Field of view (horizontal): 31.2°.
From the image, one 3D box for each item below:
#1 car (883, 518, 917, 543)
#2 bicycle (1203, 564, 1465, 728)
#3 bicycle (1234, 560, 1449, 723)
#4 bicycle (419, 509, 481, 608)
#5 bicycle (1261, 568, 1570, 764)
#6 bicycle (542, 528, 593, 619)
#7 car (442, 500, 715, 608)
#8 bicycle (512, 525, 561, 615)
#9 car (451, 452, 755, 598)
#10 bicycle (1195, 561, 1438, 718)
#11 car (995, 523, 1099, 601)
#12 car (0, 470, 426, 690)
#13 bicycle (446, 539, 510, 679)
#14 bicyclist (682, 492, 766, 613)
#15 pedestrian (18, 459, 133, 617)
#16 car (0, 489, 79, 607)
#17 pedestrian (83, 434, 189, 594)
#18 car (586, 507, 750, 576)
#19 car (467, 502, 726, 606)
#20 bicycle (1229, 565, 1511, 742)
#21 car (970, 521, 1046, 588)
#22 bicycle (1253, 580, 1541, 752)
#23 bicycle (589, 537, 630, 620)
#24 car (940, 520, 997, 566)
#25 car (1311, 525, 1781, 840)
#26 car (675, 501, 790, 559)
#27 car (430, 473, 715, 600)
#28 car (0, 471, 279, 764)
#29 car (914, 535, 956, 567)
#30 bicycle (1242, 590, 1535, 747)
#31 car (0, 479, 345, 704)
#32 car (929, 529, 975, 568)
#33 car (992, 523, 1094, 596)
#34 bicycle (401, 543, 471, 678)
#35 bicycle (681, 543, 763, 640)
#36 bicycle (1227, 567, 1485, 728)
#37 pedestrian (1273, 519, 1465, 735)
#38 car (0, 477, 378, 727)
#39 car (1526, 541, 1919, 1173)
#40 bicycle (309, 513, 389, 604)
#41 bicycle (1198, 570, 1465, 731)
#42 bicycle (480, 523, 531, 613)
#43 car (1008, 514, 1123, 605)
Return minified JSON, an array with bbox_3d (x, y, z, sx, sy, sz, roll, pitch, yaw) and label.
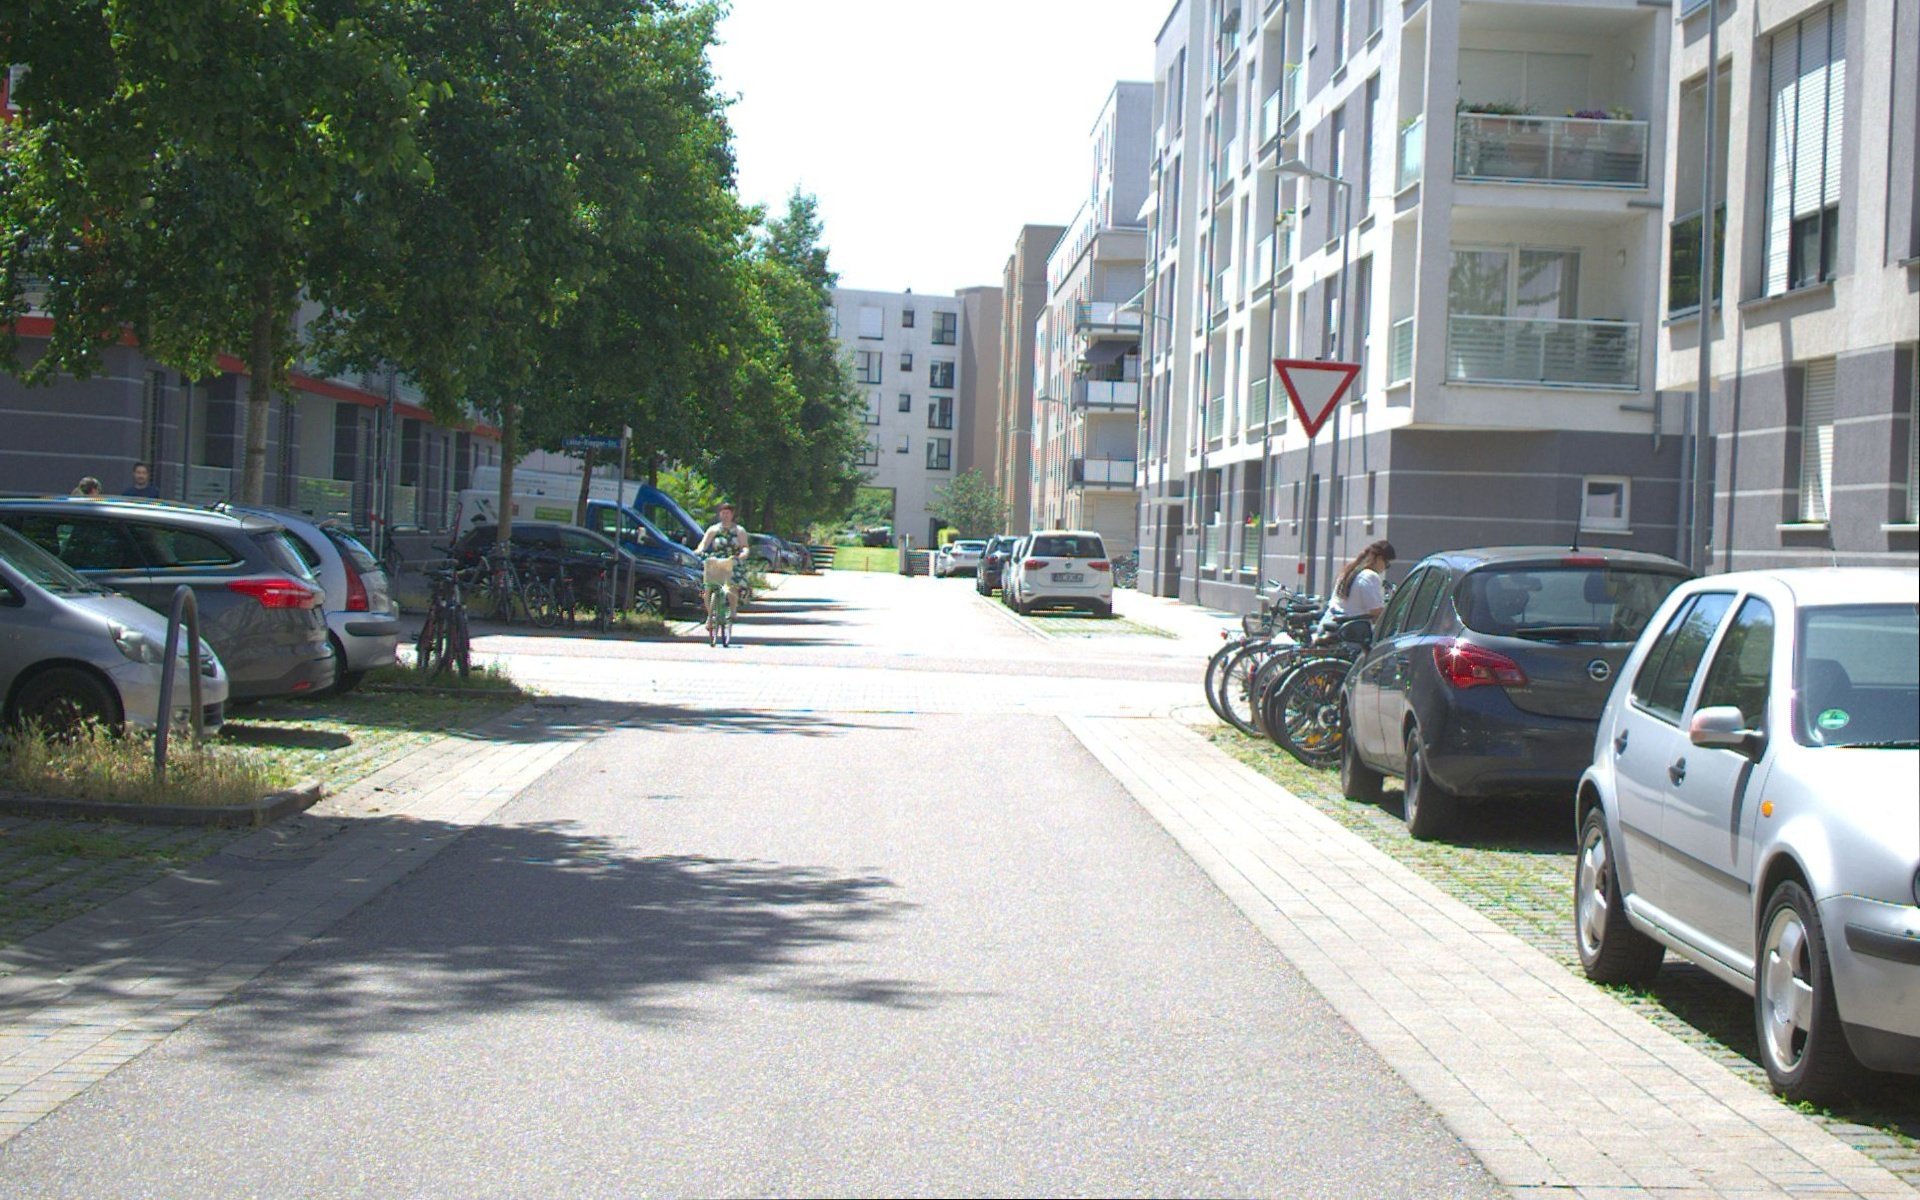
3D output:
[{"bbox_3d":[-3.835,-4.414,218.245,1.993,1.514,4.001,2,1,-2],"label":"car"},{"bbox_3d":[2.846,0.340,26.125,1.924,1.175,0.638,1,1,8],"label":"bicycle"},{"bbox_3d":[2.964,0.315,26.808,1.550,1.213,0.708,1,1,-3],"label":"bicycle"},{"bbox_3d":[-7.239,-0.603,48.872,0.593,1.327,1.812,2,2,0],"label":"bicycle"},{"bbox_3d":[2.963,0.424,22.469,1.869,1.213,0.716,1,1,-4],"label":"bicycle"},{"bbox_3d":[-5.580,-0.389,48.844,0.570,1.170,1.769,5,2,-8],"label":"bicycle"},{"bbox_3d":[-6.501,-0.797,58.950,4.383,1.509,2.075,4,1,-1],"label":"car"},{"bbox_3d":[-6.012,-0.437,48.845,0.434,1.200,1.700,4,2,0],"label":"bicycle"},{"bbox_3d":[-7.379,-1.554,71.547,6.023,2.806,2.605,2,1,-1],"label":"car"},{"bbox_3d":[2.840,0.306,27.516,1.859,1.189,0.687,1,1,2],"label":"bicycle"},{"bbox_3d":[1.799,-0.818,71.948,1.993,1.519,4.000,2,1,-1],"label":"car"},{"bbox_3d":[-6.313,-0.192,27.828,3.630,1.515,1.832,4,1,-1],"label":"car"},{"bbox_3d":[-4.269,0.061,30.377,0.371,1.176,1.821,1,1,-13],"label":"bicycle"},{"bbox_3d":[-2.903,-0.588,42.404,0.954,1.454,0.800,2,1,-2],"label":"bicyclist"},{"bbox_3d":[-9.727,-0.686,37.828,1.000,1.684,0.832,2,1,0],"label":"pedestrian"},{"bbox_3d":[-13.618,-0.746,43.299,4.571,1.378,1.938,2,3,-3],"label":"car"},{"bbox_3d":[-10.608,-1.108,44.309,1.009,2.007,1.129,2,1,2],"label":"pedestrian"},{"bbox_3d":[-7.519,-1.511,88.755,3.987,1.612,2.000,2,1,1],"label":"car"},{"bbox_3d":[-6.487,-0.828,61.741,4.383,1.536,1.878,4,1,-1],"label":"car"},{"bbox_3d":[2.925,0.381,24.571,1.923,1.213,0.461,1,1,-10],"label":"bicycle"},{"bbox_3d":[1.230,-1.160,86.349,1.757,1.547,4.000,3,1,2],"label":"car"},{"bbox_3d":[2.936,0.440,23.216,1.786,1.100,0.747,1,1,-4],"label":"bicycle"},{"bbox_3d":[-4.996,-0.318,49.072,0.466,1.138,1.926,2,1,-3],"label":"bicycle"},{"bbox_3d":[0.328,-2.248,134.888,1.993,1.669,4.001,2,1,-2],"label":"car"},{"bbox_3d":[3.064,0.355,18.822,1.738,1.480,4.229,1,1,-1],"label":"car"},{"bbox_3d":[-8.609,-2.653,130.373,3.988,2.007,2.000,2,1,6],"label":"car"},{"bbox_3d":[-7.404,-1.233,66.120,5.145,2.112,2.312,3,2,-1],"label":"car"},{"bbox_3d":[-6.149,-0.010,20.017,3.937,1.548,1.872,4,1,-1],"label":"car"},{"bbox_3d":[-1.288,-2.531,176.171,1.993,1.514,4.001,2,1,-2],"label":"car"},{"bbox_3d":[2.971,0.472,23.911,1.923,1.031,0.559,1,1,-4],"label":"bicycle"},{"bbox_3d":[-6.753,-0.109,25.550,3.987,1.549,1.800,2,1,1],"label":"car"},{"bbox_3d":[-0.394,-2.452,162.114,1.993,1.711,4.001,2,1,-2],"label":"car"},{"bbox_3d":[1.816,-0.921,76.777,1.993,1.519,4.001,2,1,-2],"label":"car"},{"bbox_3d":[-4.630,0.077,30.345,0.433,1.124,1.979,1,1,-13],"label":"bicycle"},{"bbox_3d":[-2.915,-0.119,42.282,0.898,1.125,2.040,2,1,-2],"label":"bicycle"},{"bbox_3d":[2.901,0.352,25.154,1.833,1.144,0.461,1,1,-20],"label":"bicycle"},{"bbox_3d":[2.930,0.187,24.694,1.178,1.509,0.688,1,1,-11],"label":"pedestrian"},{"bbox_3d":[-6.114,-0.041,22.914,4.180,1.481,1.959,3,0,-4],"label":"car"},{"bbox_3d":[3.056,0.598,10.504,1.834,1.499,4.351,1,1,-1],"label":"car"},{"bbox_3d":[-8.640,-0.601,48.689,0.689,1.166,2.223,5,2,-1],"label":"bicycle"},{"bbox_3d":[2.760,0.366,25.518,1.924,1.129,0.609,1,1,8],"label":"bicycle"},{"bbox_3d":[-6.481,-0.472,49.091,0.518,1.200,1.753,4,2,-3],"label":"bicycle"},{"bbox_3d":[1.999,-0.802,66.247,1.997,1.651,4.115,2,1,-1],"label":"car"}]
